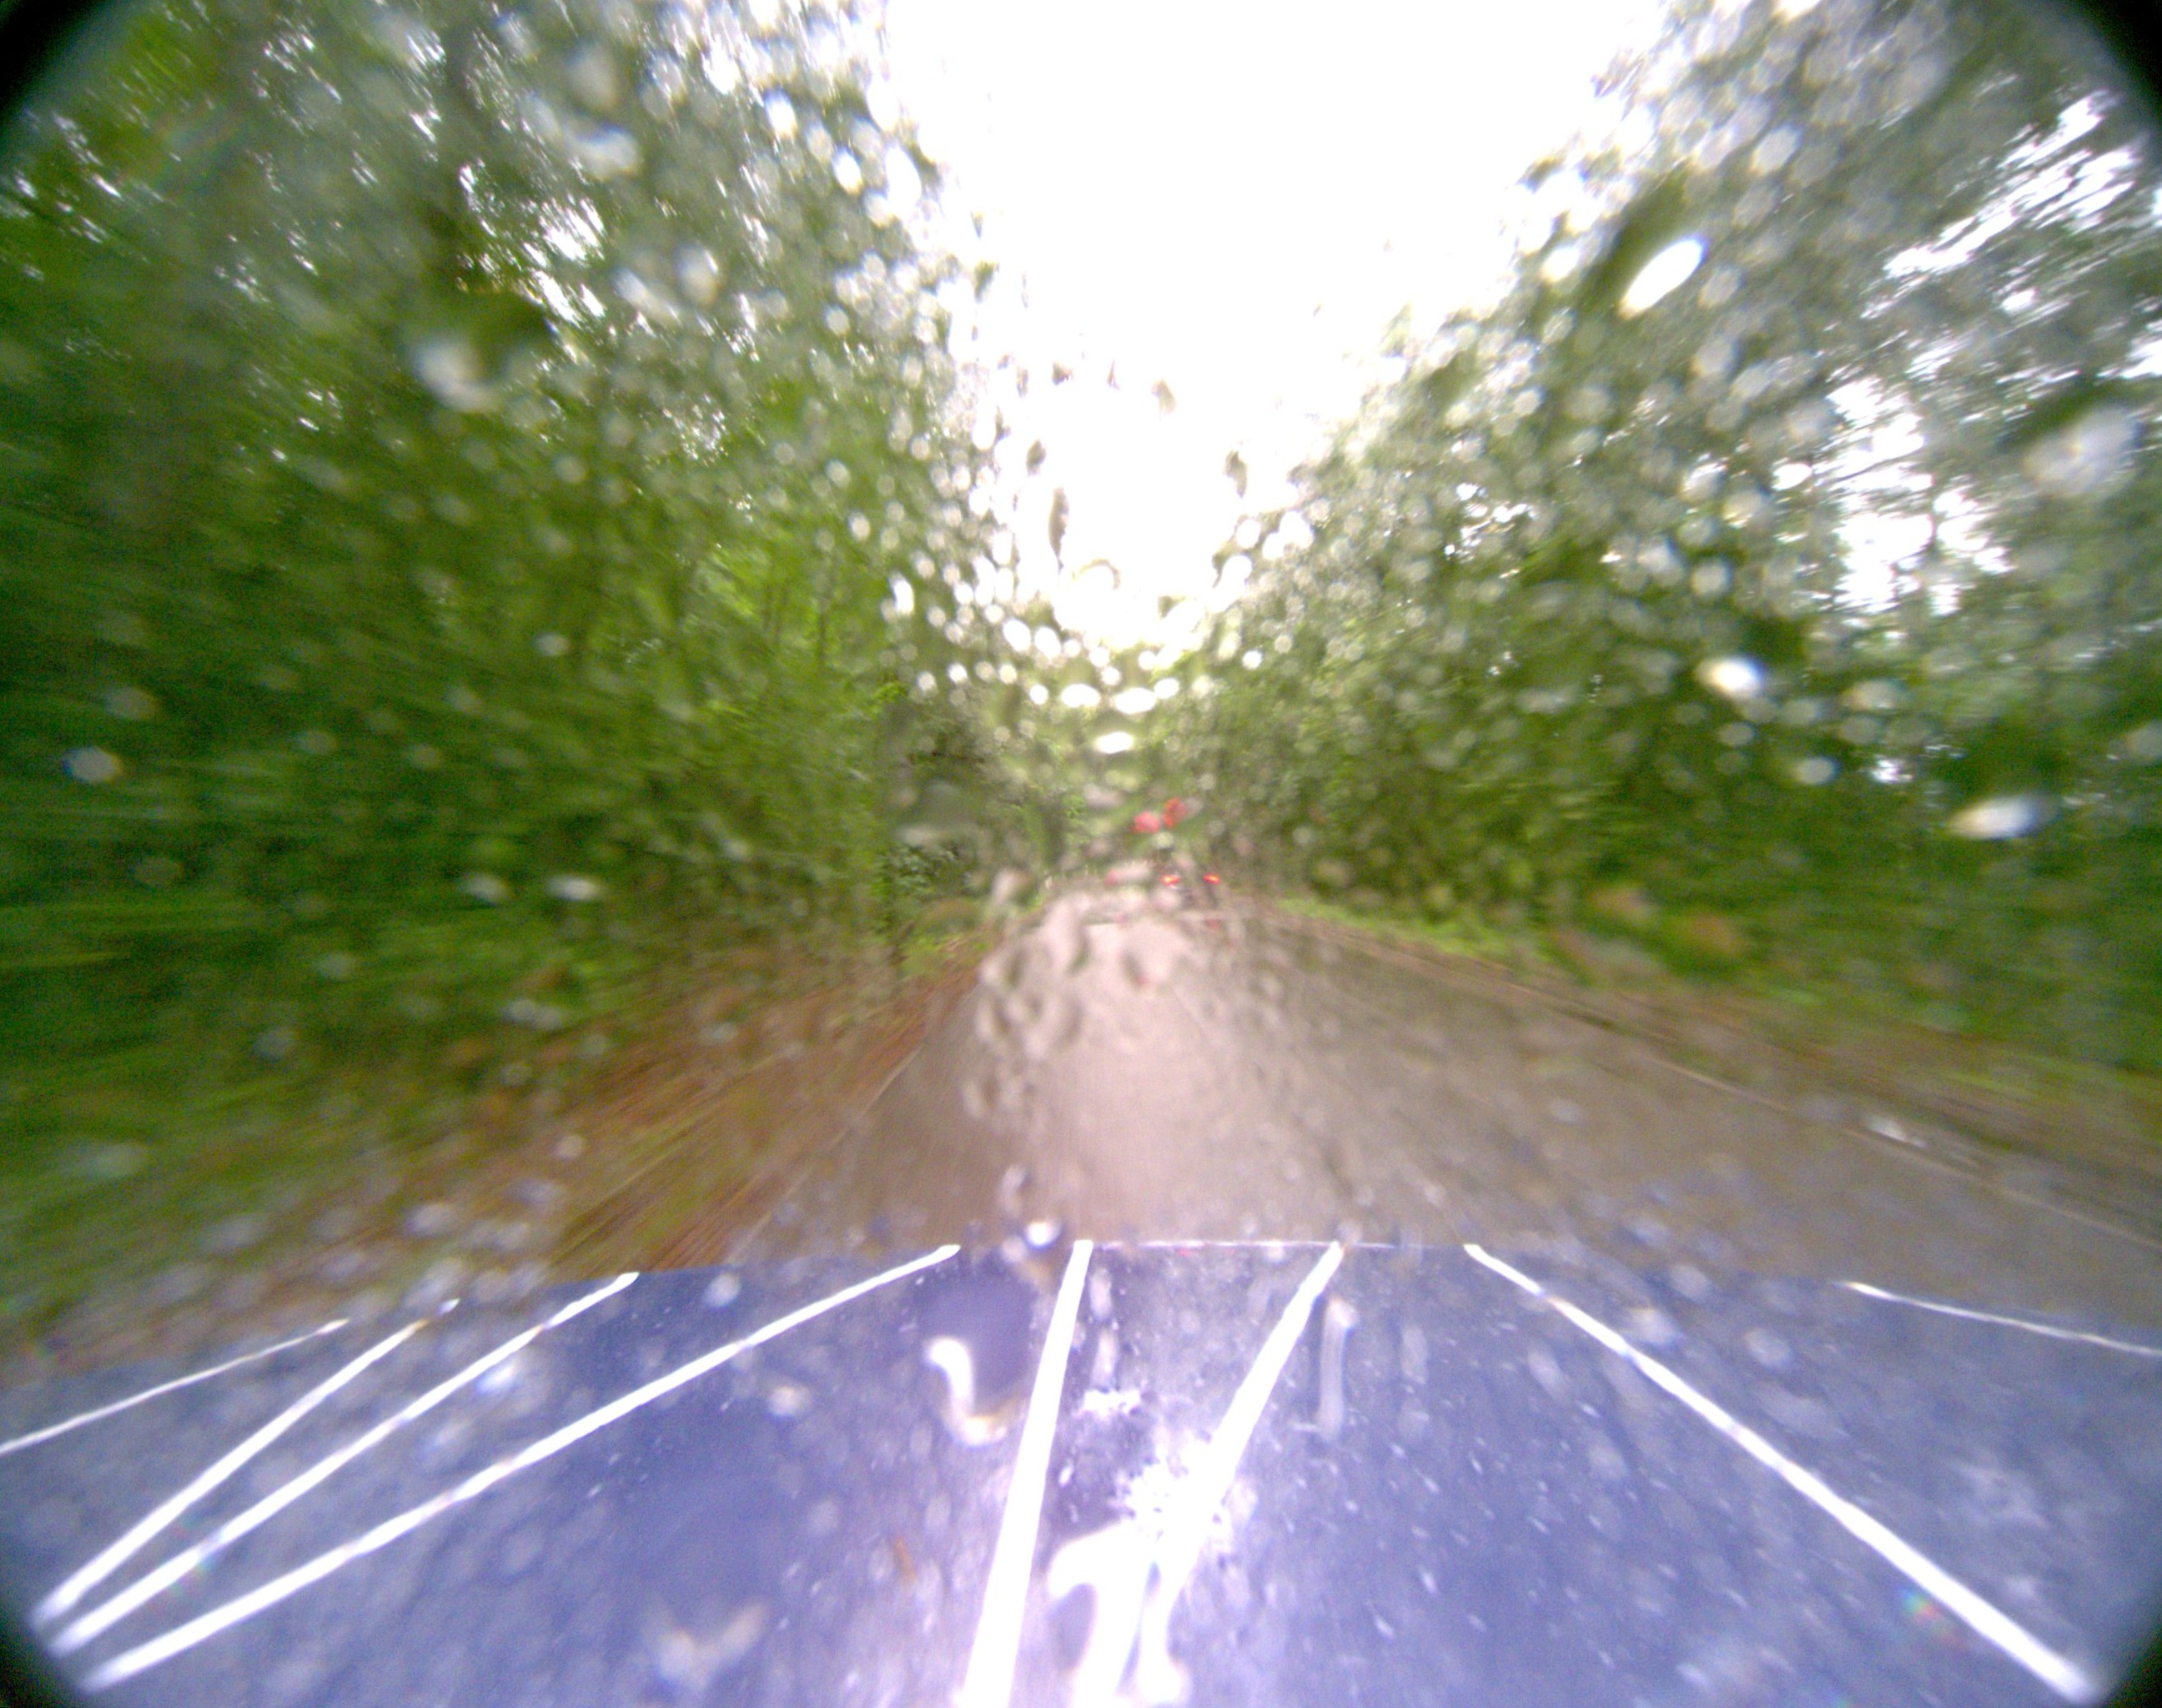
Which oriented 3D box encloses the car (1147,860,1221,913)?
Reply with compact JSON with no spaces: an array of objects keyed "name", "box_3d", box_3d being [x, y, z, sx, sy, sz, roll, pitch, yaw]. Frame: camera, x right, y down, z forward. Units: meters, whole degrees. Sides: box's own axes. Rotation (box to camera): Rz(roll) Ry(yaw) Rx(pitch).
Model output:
[{"name":"car","box_3d":[3.234,0.973,24.487,1.718,1.467,3.890,-2,0,-1]}]
